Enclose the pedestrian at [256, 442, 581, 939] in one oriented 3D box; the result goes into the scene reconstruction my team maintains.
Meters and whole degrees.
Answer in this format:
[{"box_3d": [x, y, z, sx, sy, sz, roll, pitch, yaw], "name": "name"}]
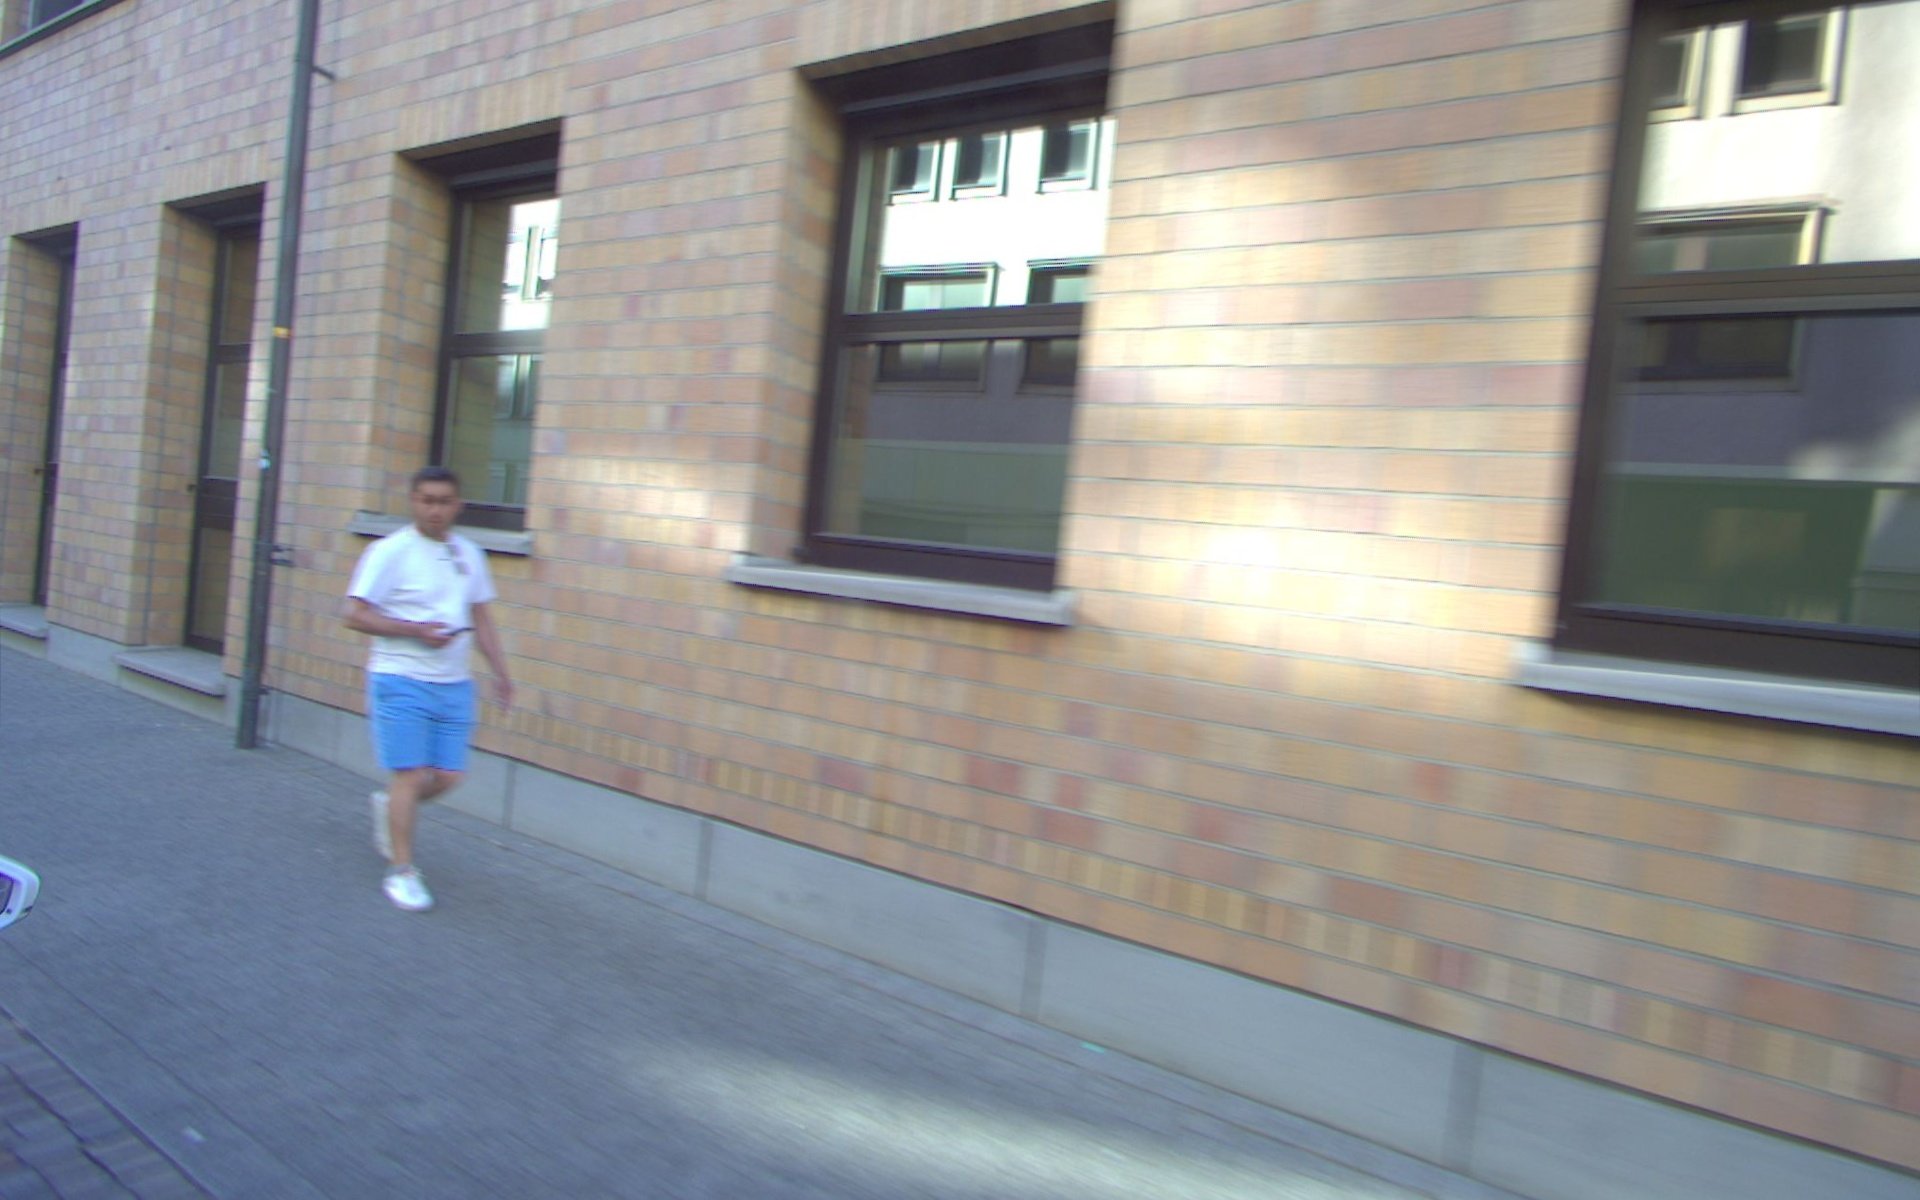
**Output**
[{"box_3d": [-2.174, 0.306, 4.060, 0.807, 1.740, 0.760, 7, 4, 30], "name": "pedestrian"}]
